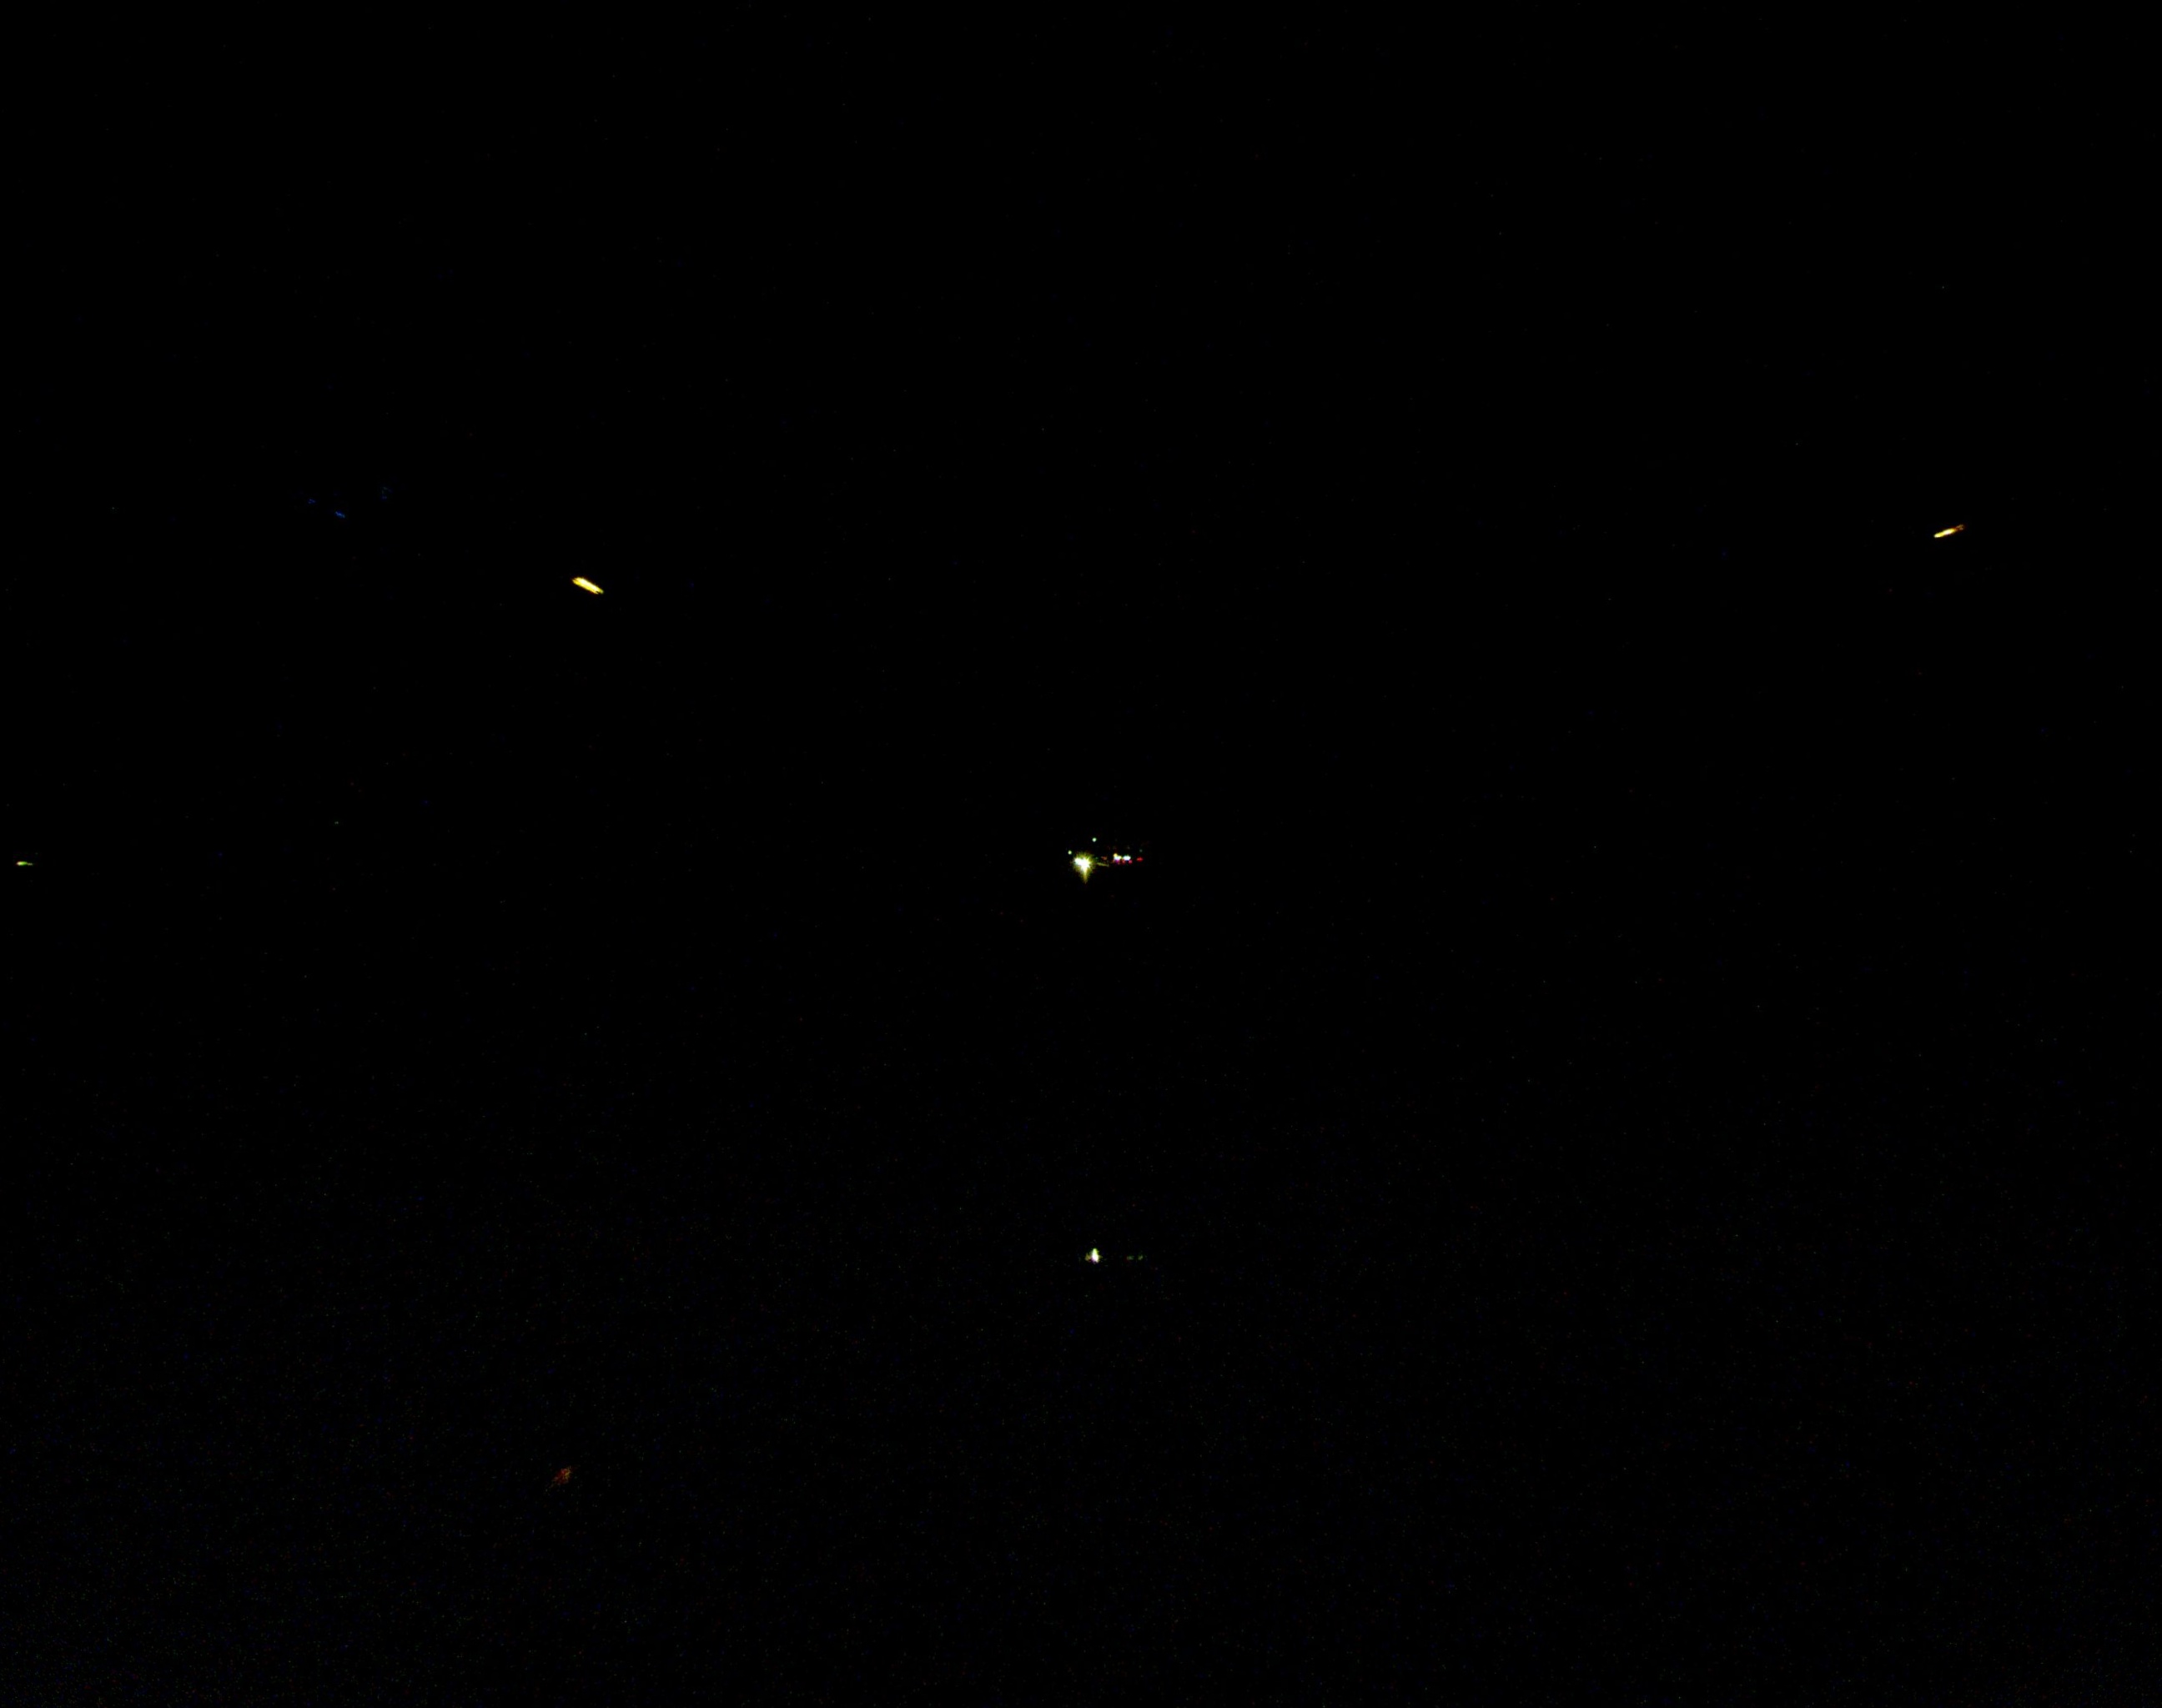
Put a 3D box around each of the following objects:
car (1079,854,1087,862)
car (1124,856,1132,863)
[{"bbox_3d":[0.374,0.773,147.733,1.570,1.336,4.166,-2,0,0],"label":"car"},{"bbox_3d":[10.560,1.173,170.238,1.621,1.498,3.868,-2,0,0],"label":"car"}]
